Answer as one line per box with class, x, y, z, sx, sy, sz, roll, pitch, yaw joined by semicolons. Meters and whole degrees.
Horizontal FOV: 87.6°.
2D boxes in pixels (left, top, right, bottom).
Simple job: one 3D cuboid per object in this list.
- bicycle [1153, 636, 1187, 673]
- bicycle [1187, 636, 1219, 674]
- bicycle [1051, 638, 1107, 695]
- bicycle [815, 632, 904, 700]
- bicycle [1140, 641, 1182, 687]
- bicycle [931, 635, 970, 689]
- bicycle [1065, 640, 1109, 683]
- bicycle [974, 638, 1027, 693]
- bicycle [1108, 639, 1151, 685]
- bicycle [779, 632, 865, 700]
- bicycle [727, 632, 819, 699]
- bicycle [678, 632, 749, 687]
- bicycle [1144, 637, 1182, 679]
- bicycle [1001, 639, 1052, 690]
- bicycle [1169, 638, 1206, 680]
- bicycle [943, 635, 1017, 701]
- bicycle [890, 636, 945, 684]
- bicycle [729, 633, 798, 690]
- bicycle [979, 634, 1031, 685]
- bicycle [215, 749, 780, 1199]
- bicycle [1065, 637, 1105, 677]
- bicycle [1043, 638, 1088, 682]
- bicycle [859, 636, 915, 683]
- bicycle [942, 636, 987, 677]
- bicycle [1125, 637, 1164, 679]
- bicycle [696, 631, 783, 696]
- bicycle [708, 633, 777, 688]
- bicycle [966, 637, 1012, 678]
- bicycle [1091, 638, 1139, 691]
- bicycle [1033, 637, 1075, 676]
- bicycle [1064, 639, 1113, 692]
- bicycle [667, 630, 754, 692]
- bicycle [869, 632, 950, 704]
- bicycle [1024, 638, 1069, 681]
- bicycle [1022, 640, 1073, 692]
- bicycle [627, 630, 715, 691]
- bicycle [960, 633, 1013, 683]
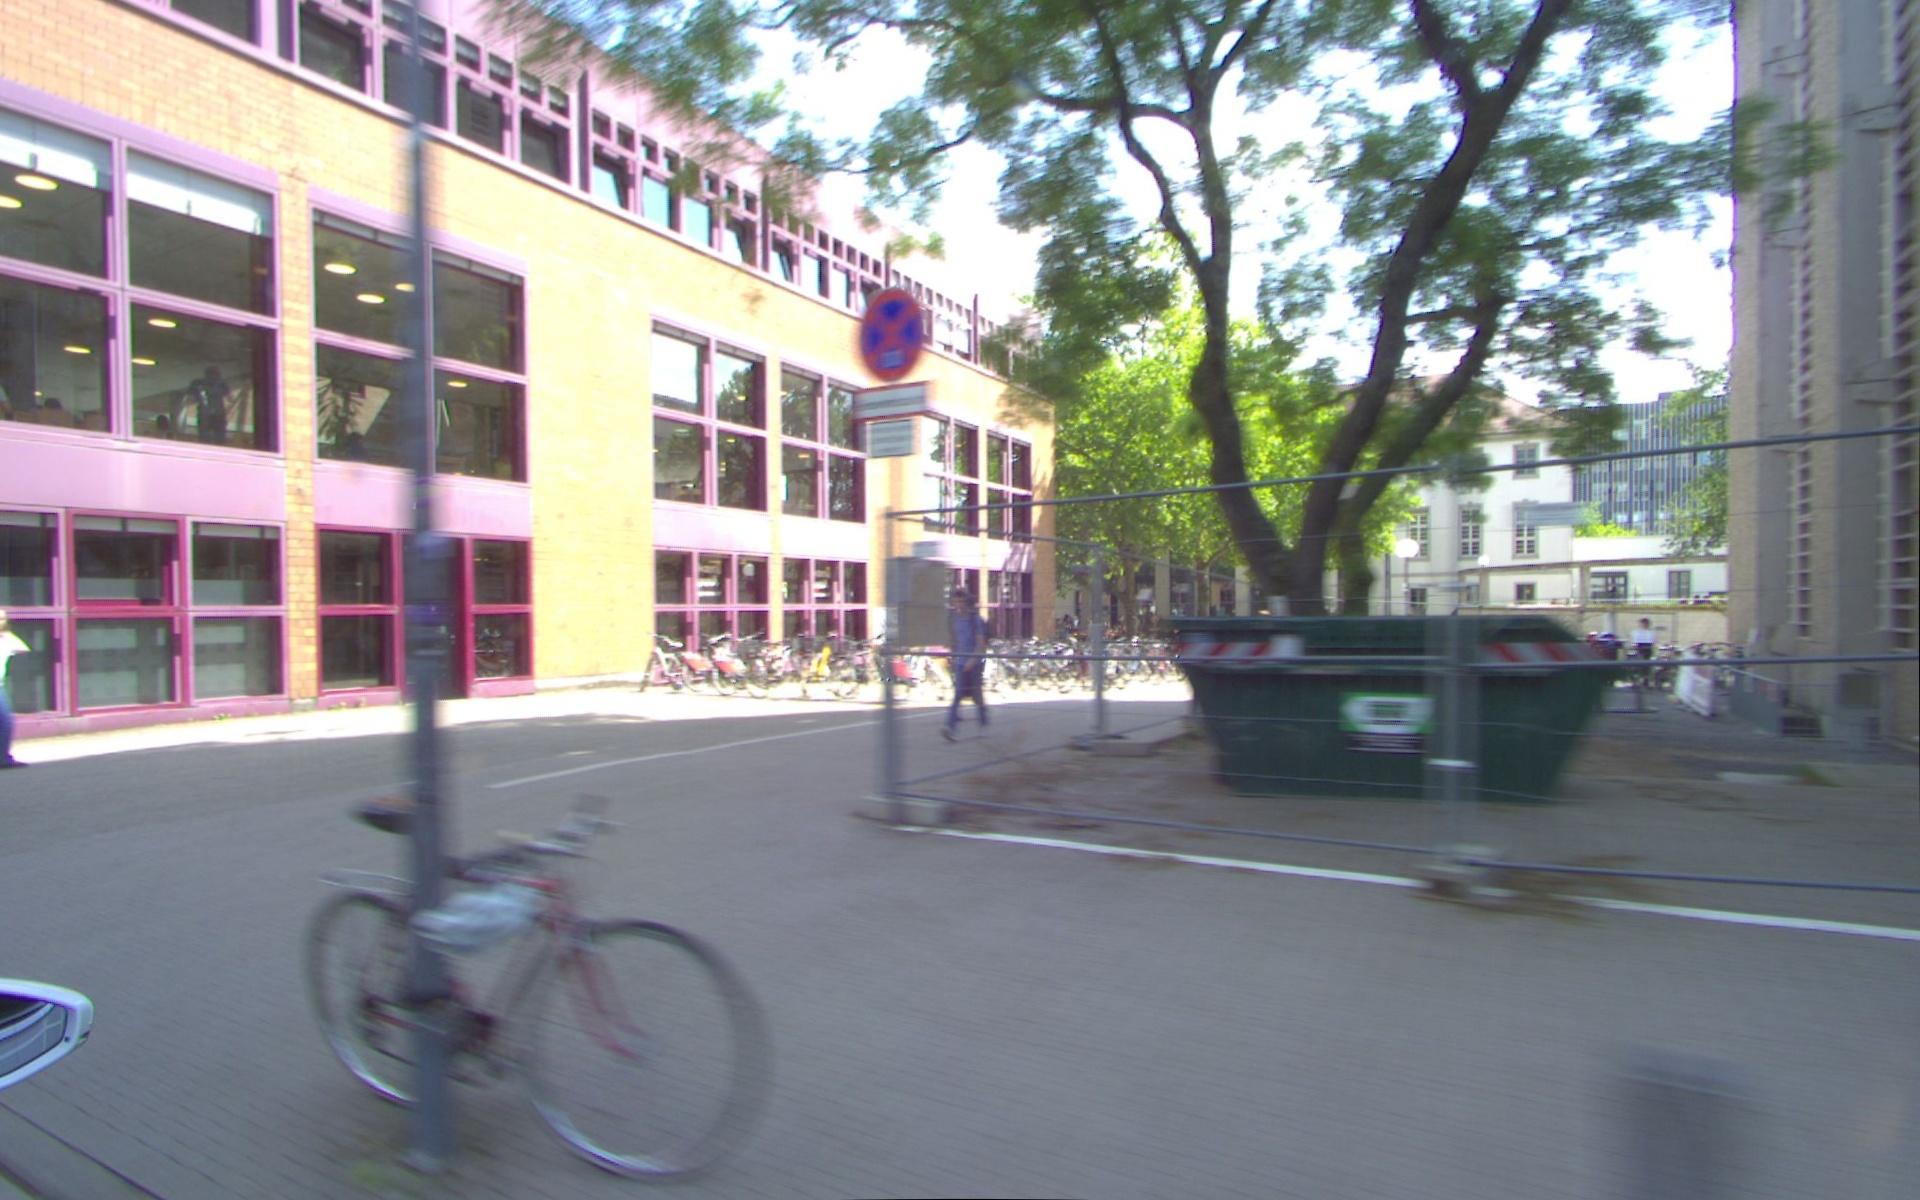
bicycle;6.843;1.752;32.516;0.537;1.184;1.995;0;-2;28
bicycle;7.833;1.749;32.216;0.537;1.184;1.995;0;-2;28
bicycle;2.603;1.412;21.756;0.467;1.184;1.803;0;-2;33
bicycle;-1.717;1.111;17.347;0.516;1.124;1.806;-1;-2;33
bicycle;5.457;1.706;27.117;0.537;1.184;1.995;0;-2;28
bicycle;-0.202;1.402;23.077;0.465;1.184;1.811;0;-2;13
bicycle;3.580;1.706;28.143;0.537;1.184;1.995;0;-2;28
bicycle;0.924;1.446;22.568;0.467;1.184;1.806;0;-2;27
bicycle;4.614;1.660;27.088;0.537;1.184;1.995;0;-2;28
bicycle;-2.384;1.118;17.490;0.516;1.124;1.808;0;-2;29
bicycle;-3.293;1.129;17.761;0.516;1.124;1.806;-1;-2;33
bicycle;-5.248;1.246;21.416;0.466;1.124;1.807;0;-1;24
bicycle;5.956;1.691;29.332;0.537;1.184;1.995;0;-2;28
bicycle;1.652;1.548;24.488;0.467;1.184;1.995;0;-2;28
bicycle;6.613;1.693;29.101;0.537;1.184;1.995;0;-2;28
bicycle;0.392;1.199;18.096;0.467;1.124;1.802;-1;-2;33
bicycle;-1.068;1.519;25.794;0.467;1.184;1.995;0;-2;28
bicycle;-4.079;1.259;20.875;0.466;1.124;1.807;0;-1;24
bicycle;1.122;1.438;24.603;0.467;1.184;1.995;0;-2;28
bicycle;-1.326;0.982;2.750;1.713;0.975;0.450;-1;3;29
bicycle;3.807;1.705;30.391;0.537;1.184;1.995;0;-2;28
bicycle;3.006;1.684;28.419;0.537;1.184;1.995;0;-2;28
bicycle;-1.893;1.531;26.277;0.467;1.184;1.995;0;-2;28
bicycle;0.141;1.667;30.092;0.537;1.184;1.996;0;-2;26
bicycle;5.475;1.693;29.636;0.537;1.184;1.995;0;-2;28
bicycle;-3.983;1.127;18.231;0.515;1.124;1.809;0;-2;27
bicycle;-4.571;1.251;21.142;0.466;1.124;1.807;0;-1;24
bicycle;0.878;1.685;29.664;0.537;1.184;1.995;0;-2;28
bicycle;3.644;1.489;23.458;0.467;1.184;1.995;0;-2;28
bicycle;2.919;1.727;30.909;0.537;1.184;1.995;0;-2;28
bicycle;3.052;1.520;23.636;0.467;1.184;1.995;0;-2;28
bicycle;-4.720;1.131;19.049;0.516;1.124;1.808;0;-2;29
bicycle;-0.820;1.103;16.685;0.467;1.124;1.691;-1;-2;33
bicycle;2.489;1.685;28.672;0.537;1.184;1.995;0;-2;28
bicycle;2.132;1.562;24.165;0.467;1.184;1.995;0;-2;28
bicycle;-5.541;1.140;19.295;0.515;1.124;1.808;0;-2;28
bicycle;0.675;1.431;24.961;0.467;1.184;1.995;0;-2;28
